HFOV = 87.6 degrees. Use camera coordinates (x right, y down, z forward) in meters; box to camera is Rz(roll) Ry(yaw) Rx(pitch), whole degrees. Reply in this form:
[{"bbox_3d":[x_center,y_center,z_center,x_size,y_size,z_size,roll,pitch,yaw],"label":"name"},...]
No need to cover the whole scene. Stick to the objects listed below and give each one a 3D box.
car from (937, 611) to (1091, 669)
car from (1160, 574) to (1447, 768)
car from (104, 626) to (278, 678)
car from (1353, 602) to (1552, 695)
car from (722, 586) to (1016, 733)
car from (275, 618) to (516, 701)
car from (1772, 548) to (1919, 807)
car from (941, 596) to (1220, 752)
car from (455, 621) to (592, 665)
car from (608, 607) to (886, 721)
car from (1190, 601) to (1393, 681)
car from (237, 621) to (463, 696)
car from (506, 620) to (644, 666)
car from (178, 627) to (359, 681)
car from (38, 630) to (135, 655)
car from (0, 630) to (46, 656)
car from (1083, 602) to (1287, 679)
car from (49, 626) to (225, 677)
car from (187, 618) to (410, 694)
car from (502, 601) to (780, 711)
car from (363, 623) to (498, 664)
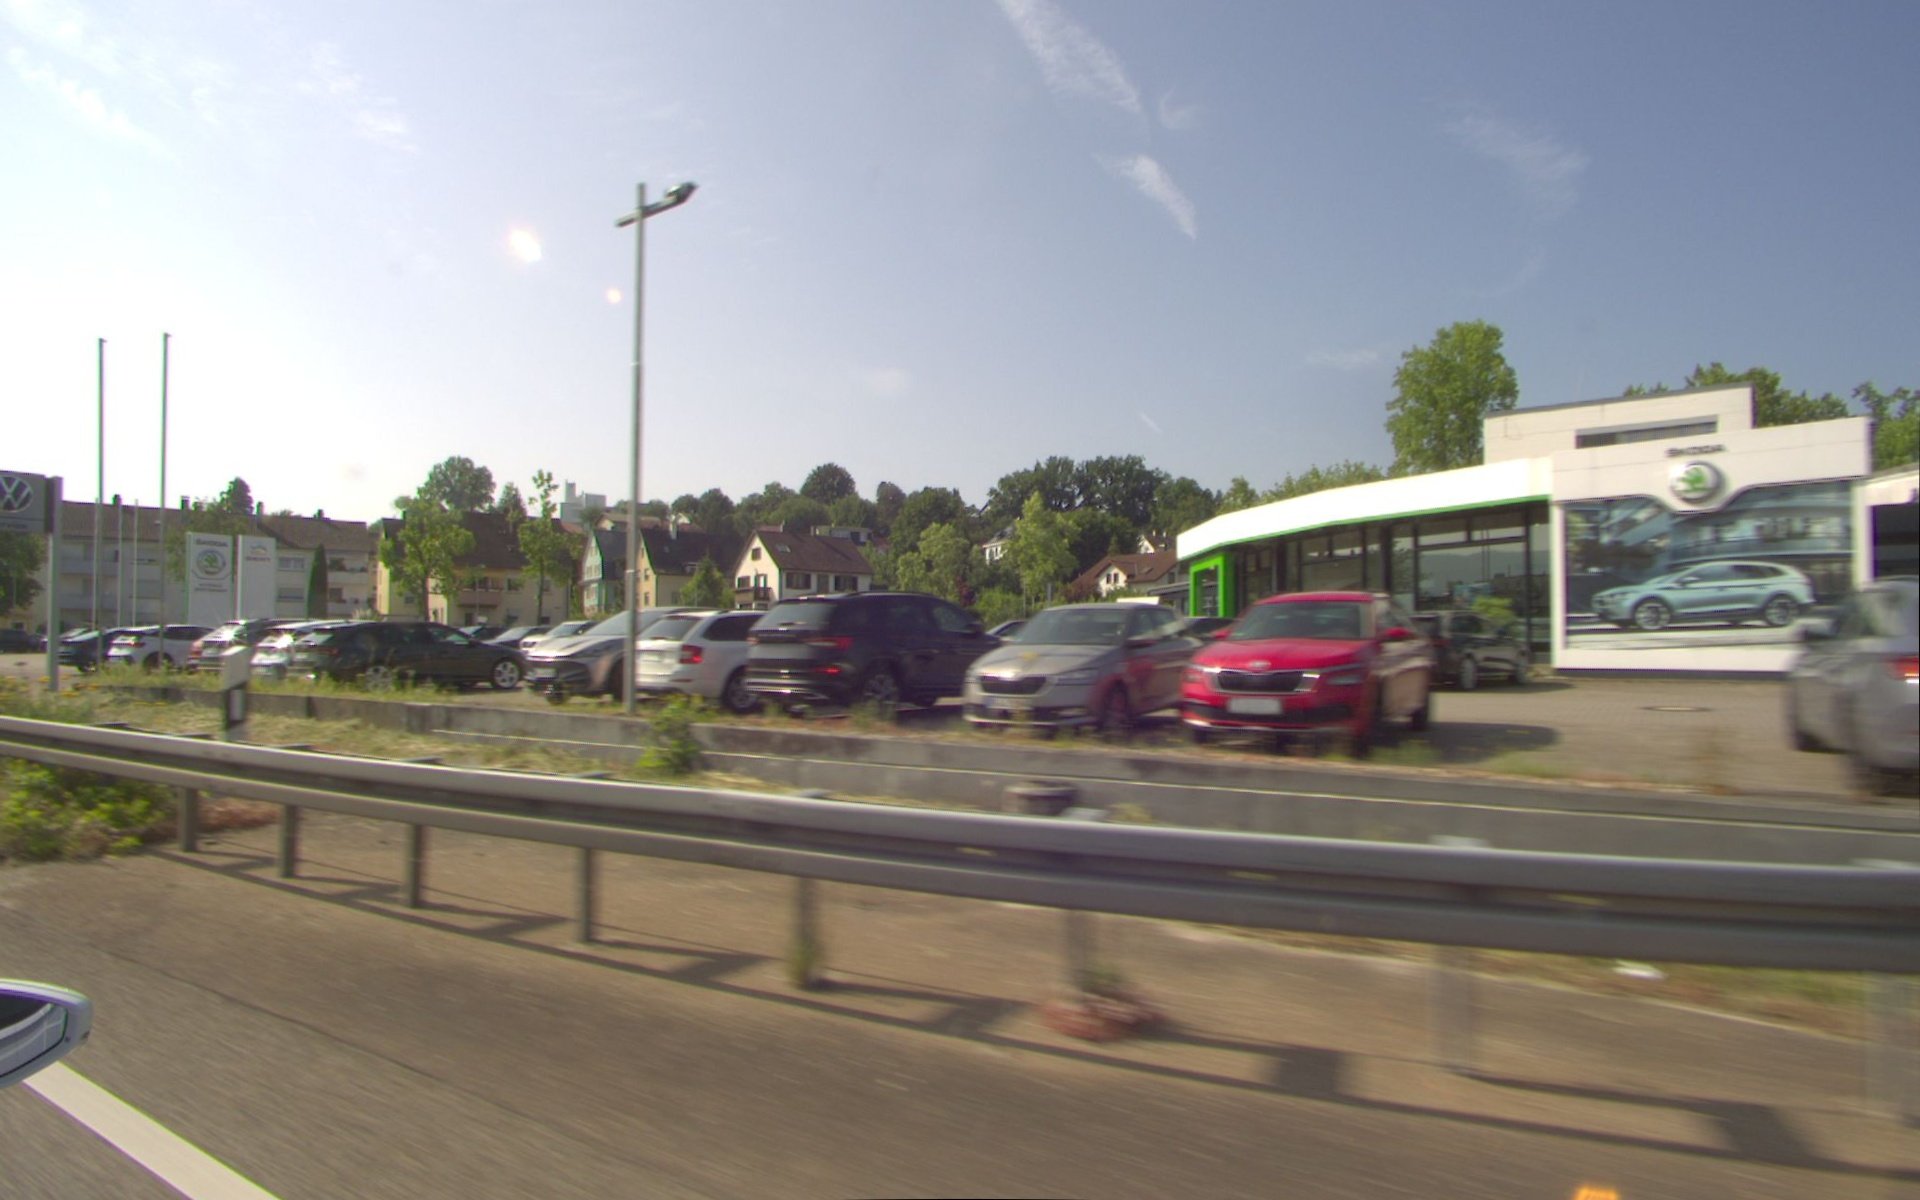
[{"bbox_3d":[1.566,1.157,29.811,4.275,1.585,1.790,-1,-1,-11],"label":"car"},{"bbox_3d":[3.701,0.620,10.299,1.757,1.572,4.072,-2,-1,34],"label":"car"},{"bbox_3d":[-24.604,1.633,32.184,1.797,1.535,4.089,-1,-2,29],"label":"car"},{"bbox_3d":[9.608,0.864,19.373,4.669,1.585,1.775,0,-1,-41],"label":"car"},{"bbox_3d":[-1.094,0.724,13.551,1.818,1.685,3.863,-2,-1,38],"label":"car"},{"bbox_3d":[-11.425,1.165,20.521,1.706,1.513,3.979,-2,-2,33],"label":"car"},{"bbox_3d":[7.048,0.469,6.974,1.721,1.477,3.830,-2,-2,33],"label":"car"},{"bbox_3d":[1.528,0.748,11.500,1.642,1.477,3.721,-2,-1,34],"label":"car"},{"bbox_3d":[-17.127,1.650,39.533,1.904,1.585,4.728,-2,-1,31],"label":"car"},{"bbox_3d":[-3.127,0.889,15.376,1.702,1.505,4.020,-2,-1,38],"label":"car"},{"bbox_3d":[7.039,0.806,21.043,4.665,1.508,1.777,0,-1,-38],"label":"car"},{"bbox_3d":[-13.477,1.248,22.356,1.765,1.513,3.981,-1,-2,31],"label":"car"},{"bbox_3d":[-14.548,1.587,38.116,1.904,1.585,4.728,-2,-1,31],"label":"car"},{"bbox_3d":[-20.083,1.524,29.257,1.797,1.464,3.983,-1,-2,29],"label":"car"},{"bbox_3d":[-56.184,2.722,64.530,1.828,1.541,4.636,-1,-2,10],"label":"car"},{"bbox_3d":[-61.881,2.777,64.485,1.805,1.620,4.499,-1,-2,2],"label":"car"},{"bbox_3d":[5.101,0.885,22.688,4.285,1.585,1.785,-1,-1,-23],"label":"car"},{"bbox_3d":[-27.138,1.651,33.179,1.795,1.535,4.156,-1,-1,26],"label":"car"},{"bbox_3d":[-15.492,1.266,23.675,1.765,1.630,4.074,-1,-2,28],"label":"car"},{"bbox_3d":[-5.218,0.872,17.032,1.827,1.621,4.441,-1,-1,30],"label":"car"},{"bbox_3d":[-22.318,1.794,42.393,1.904,1.585,4.728,-2,-1,31],"label":"car"}]
